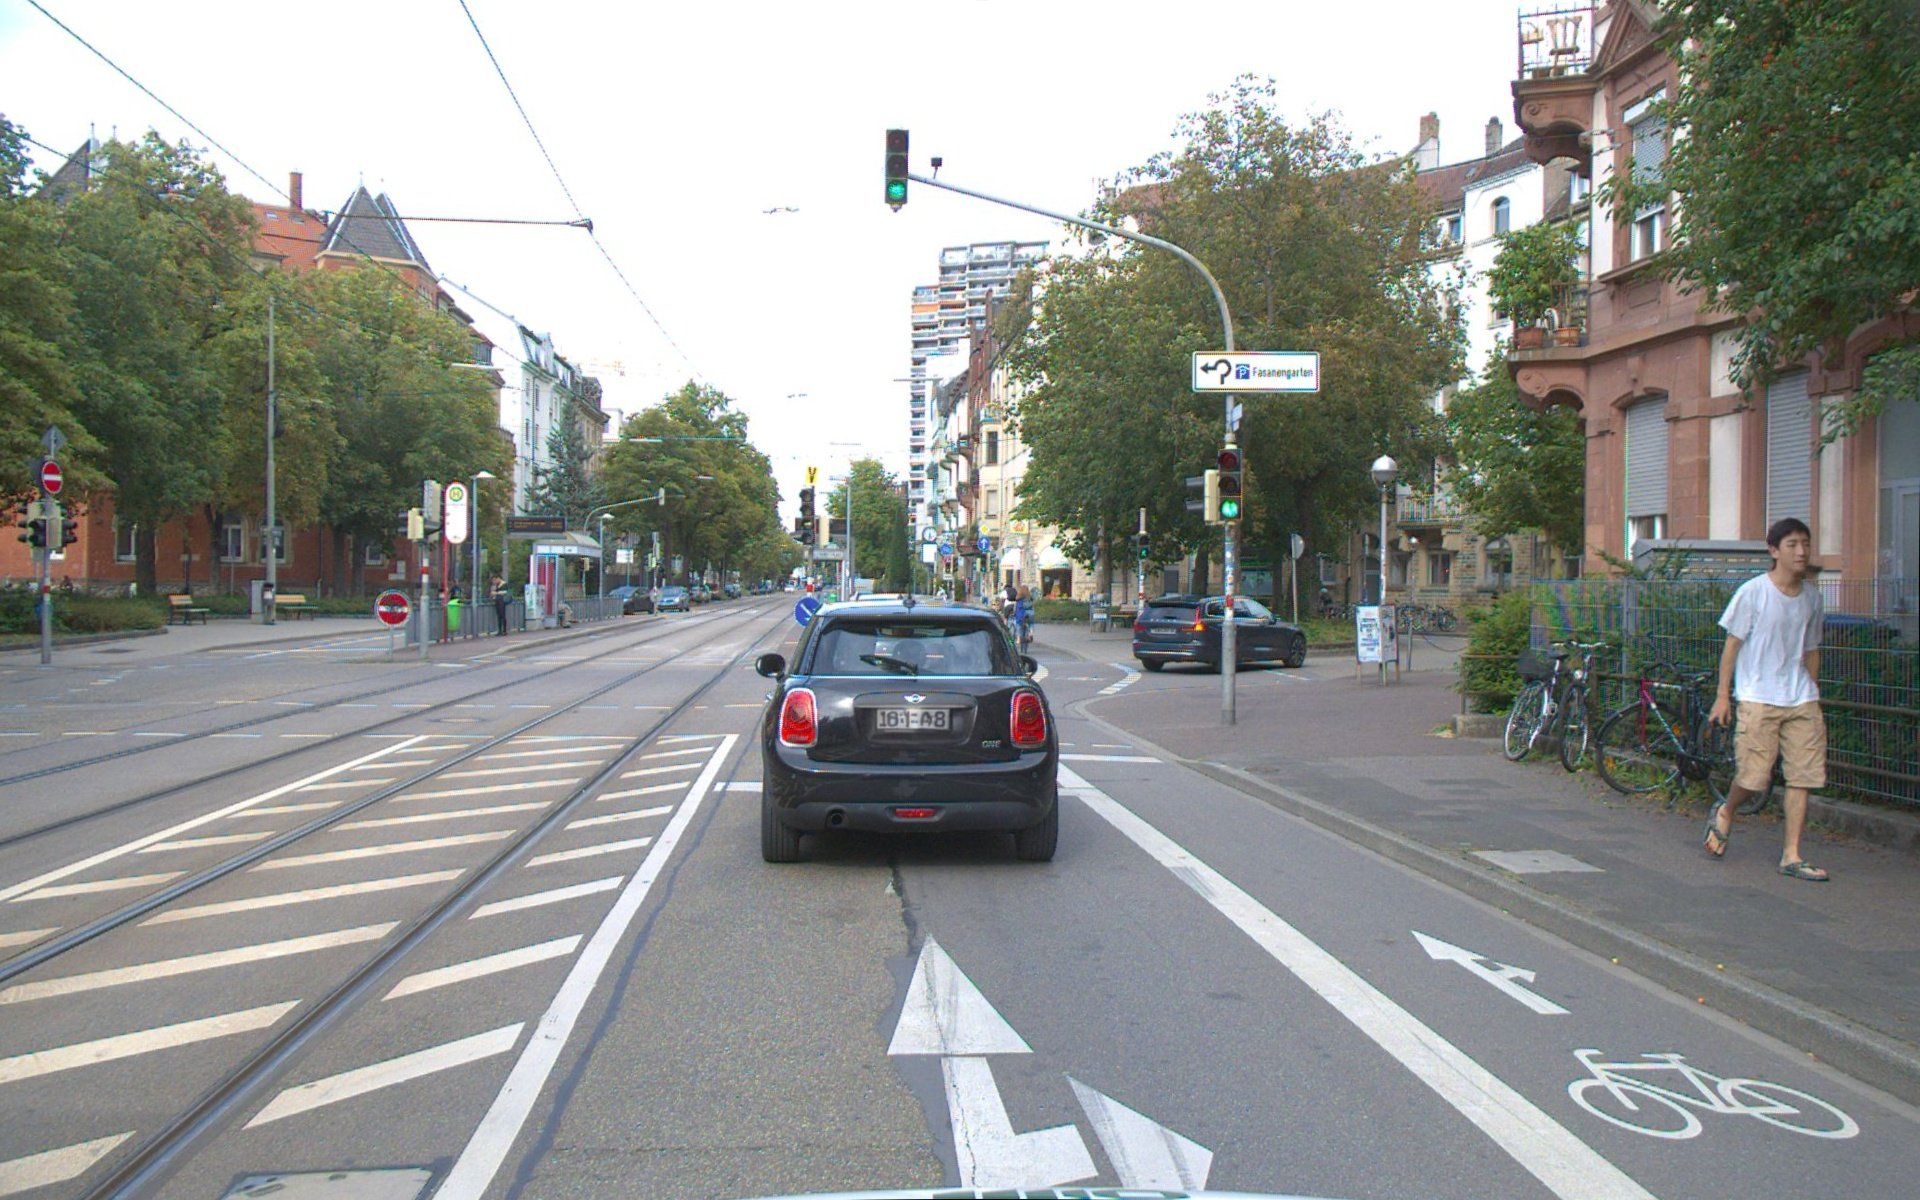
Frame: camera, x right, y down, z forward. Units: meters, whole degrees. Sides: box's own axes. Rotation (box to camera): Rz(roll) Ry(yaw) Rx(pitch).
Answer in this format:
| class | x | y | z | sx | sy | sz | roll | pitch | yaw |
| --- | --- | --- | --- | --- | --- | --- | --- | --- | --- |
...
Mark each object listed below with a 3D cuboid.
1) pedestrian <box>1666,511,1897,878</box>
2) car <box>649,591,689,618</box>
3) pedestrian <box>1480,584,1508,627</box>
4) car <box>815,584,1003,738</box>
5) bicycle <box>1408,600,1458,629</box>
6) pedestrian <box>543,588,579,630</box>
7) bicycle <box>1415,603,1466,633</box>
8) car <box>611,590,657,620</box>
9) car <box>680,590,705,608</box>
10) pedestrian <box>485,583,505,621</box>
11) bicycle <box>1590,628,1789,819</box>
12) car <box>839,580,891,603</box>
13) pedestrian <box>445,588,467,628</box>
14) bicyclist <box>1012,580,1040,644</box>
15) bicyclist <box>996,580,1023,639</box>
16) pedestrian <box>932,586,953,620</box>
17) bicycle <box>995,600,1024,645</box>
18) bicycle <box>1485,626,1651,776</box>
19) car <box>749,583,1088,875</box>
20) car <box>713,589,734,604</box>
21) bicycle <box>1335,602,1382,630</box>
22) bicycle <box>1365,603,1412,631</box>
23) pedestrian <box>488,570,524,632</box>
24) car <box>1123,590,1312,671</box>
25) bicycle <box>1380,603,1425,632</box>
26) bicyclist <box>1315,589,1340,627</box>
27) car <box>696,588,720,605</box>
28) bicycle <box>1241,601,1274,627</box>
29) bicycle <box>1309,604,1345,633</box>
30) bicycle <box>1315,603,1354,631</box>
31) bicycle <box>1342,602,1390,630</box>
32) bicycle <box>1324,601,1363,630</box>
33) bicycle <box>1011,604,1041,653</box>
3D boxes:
| class | x | y | z | sx | sy | sz | roll | pitch | yaw |
| --- | --- | --- | --- | --- | --- | --- | --- | --- | --- |
| pedestrian | 4.208 | 0.456 | 8.535 | 0.715 | 1.784 | 0.950 | 0 | 0 | 0 |
| car | -16.603 | 0.237 | 94.554 | 1.717 | 1.466 | 3.998 | 2 | 0 | -3 |
| pedestrian | 21.051 | 0.208 | 65.182 | 0.717 | 1.705 | 0.833 | 0 | 0 | -12 |
| car | -0.640 | 0.604 | 18.605 | 1.889 | 1.536 | 3.997 | 0 | 0 | -4 |
| bicycle | 18.658 | 0.567 | 65.205 | 1.852 | 1.147 | 0.532 | 0 | 0 | -8 |
| pedestrian | -12.591 | 0.293 | 52.256 | 1.039 | 1.316 | 0.984 | 0 | 0 | -10 |
| bicycle | 18.782 | 0.709 | 64.629 | 1.852 | 1.147 | 0.532 | 0 | 0 | -8 |
| car | -16.781 | 0.229 | 85.388 | 1.717 | 1.466 | 3.998 | 2 | 0 | -3 |
| car | -21.665 | -0.085 | 134.174 | 1.732 | 1.420 | 3.996 | 0 | 0 | -5 |
| pedestrian | -21.348 | 0.111 | 75.934 | 0.817 | 1.733 | 0.731 | 0 | 0 | -10 |
| bicycle | 4.799 | 0.774 | 10.985 | 0.498 | 1.107 | 1.549 | -3 | 1 | -4 |
| car | -9.612 | -0.831 | 167.535 | 2.357 | 2.312 | 5.003 | 1 | 0 | 45 |
| pedestrian | -21.780 | 0.351 | 71.429 | 0.817 | 1.733 | 0.731 | 0 | 0 | -10 |
| bicyclist | 1.665 | 0.295 | 41.779 | 0.583 | 1.577 | 1.013 | 0 | 0 | -4 |
| bicyclist | 1.359 | 0.259 | 45.435 | 0.670 | 1.591 | 0.998 | 0 | 0 | -3 |
| pedestrian | -0.929 | 0.154 | 87.724 | 0.719 | 1.703 | 0.830 | -2 | 1 | 42 |
| bicycle | 1.356 | 0.612 | 45.414 | 0.670 | 1.190 | 1.696 | 0 | 0 | -2 |
| bicycle | 5.008 | 0.796 | 13.731 | 0.658 | 1.125 | 1.671 | 0 | 0 | -4 |
| car | -0.348 | 0.667 | 10.601 | 1.717 | 1.466 | 3.997 | 2 | 0 | -4 |
| car | -26.264 | -0.387 | 183.609 | 1.954 | 1.579 | 3.997 | 0 | 0 | -4 |
| bicycle | 16.684 | 0.668 | 69.261 | 1.855 | 1.147 | 0.561 | 0 | 0 | -13 |
| bicycle | 17.532 | 0.684 | 67.677 | 1.861 | 1.147 | 0.579 | 0 | 0 | -22 |
| pedestrian | -12.147 | 0.021 | 44.297 | 0.836 | 1.649 | 0.841 | 0 | 0 | -10 |
| car | 5.098 | 0.546 | 32.332 | 1.724 | 1.466 | 4.459 | 0 | 0 | 38 |
| bicycle | 17.913 | 0.693 | 66.888 | 1.865 | 1.147 | 0.589 | 0 | 0 | -28 |
| bicyclist | 14.450 | 0.303 | 65.093 | 0.605 | 1.498 | 0.911 | 0 | 0 | -16 |
| car | -24.457 | -0.366 | 160.730 | 1.954 | 1.579 | 3.997 | 0 | 0 | -4 |
| bicycle | 13.191 | 0.604 | 73.396 | 0.654 | 1.147 | 1.886 | 0 | 0 | 37 |
| bicycle | 14.443 | 0.704 | 65.100 | 0.605 | 1.095 | 1.813 | 0 | 0 | -16 |
| bicycle | 15.938 | 0.700 | 70.400 | 1.872 | 1.147 | 0.526 | -1 | 1 | -36 |
| bicycle | 16.866 | 0.672 | 68.689 | 1.855 | 1.147 | 0.597 | 0 | 0 | -13 |
| bicycle | 16.227 | 0.639 | 69.936 | 1.872 | 1.147 | 0.526 | -1 | 1 | -36 |
| bicycle | 1.658 | 0.710 | 41.784 | 0.586 | 1.190 | 1.695 | 0 | 0 | -4 |
